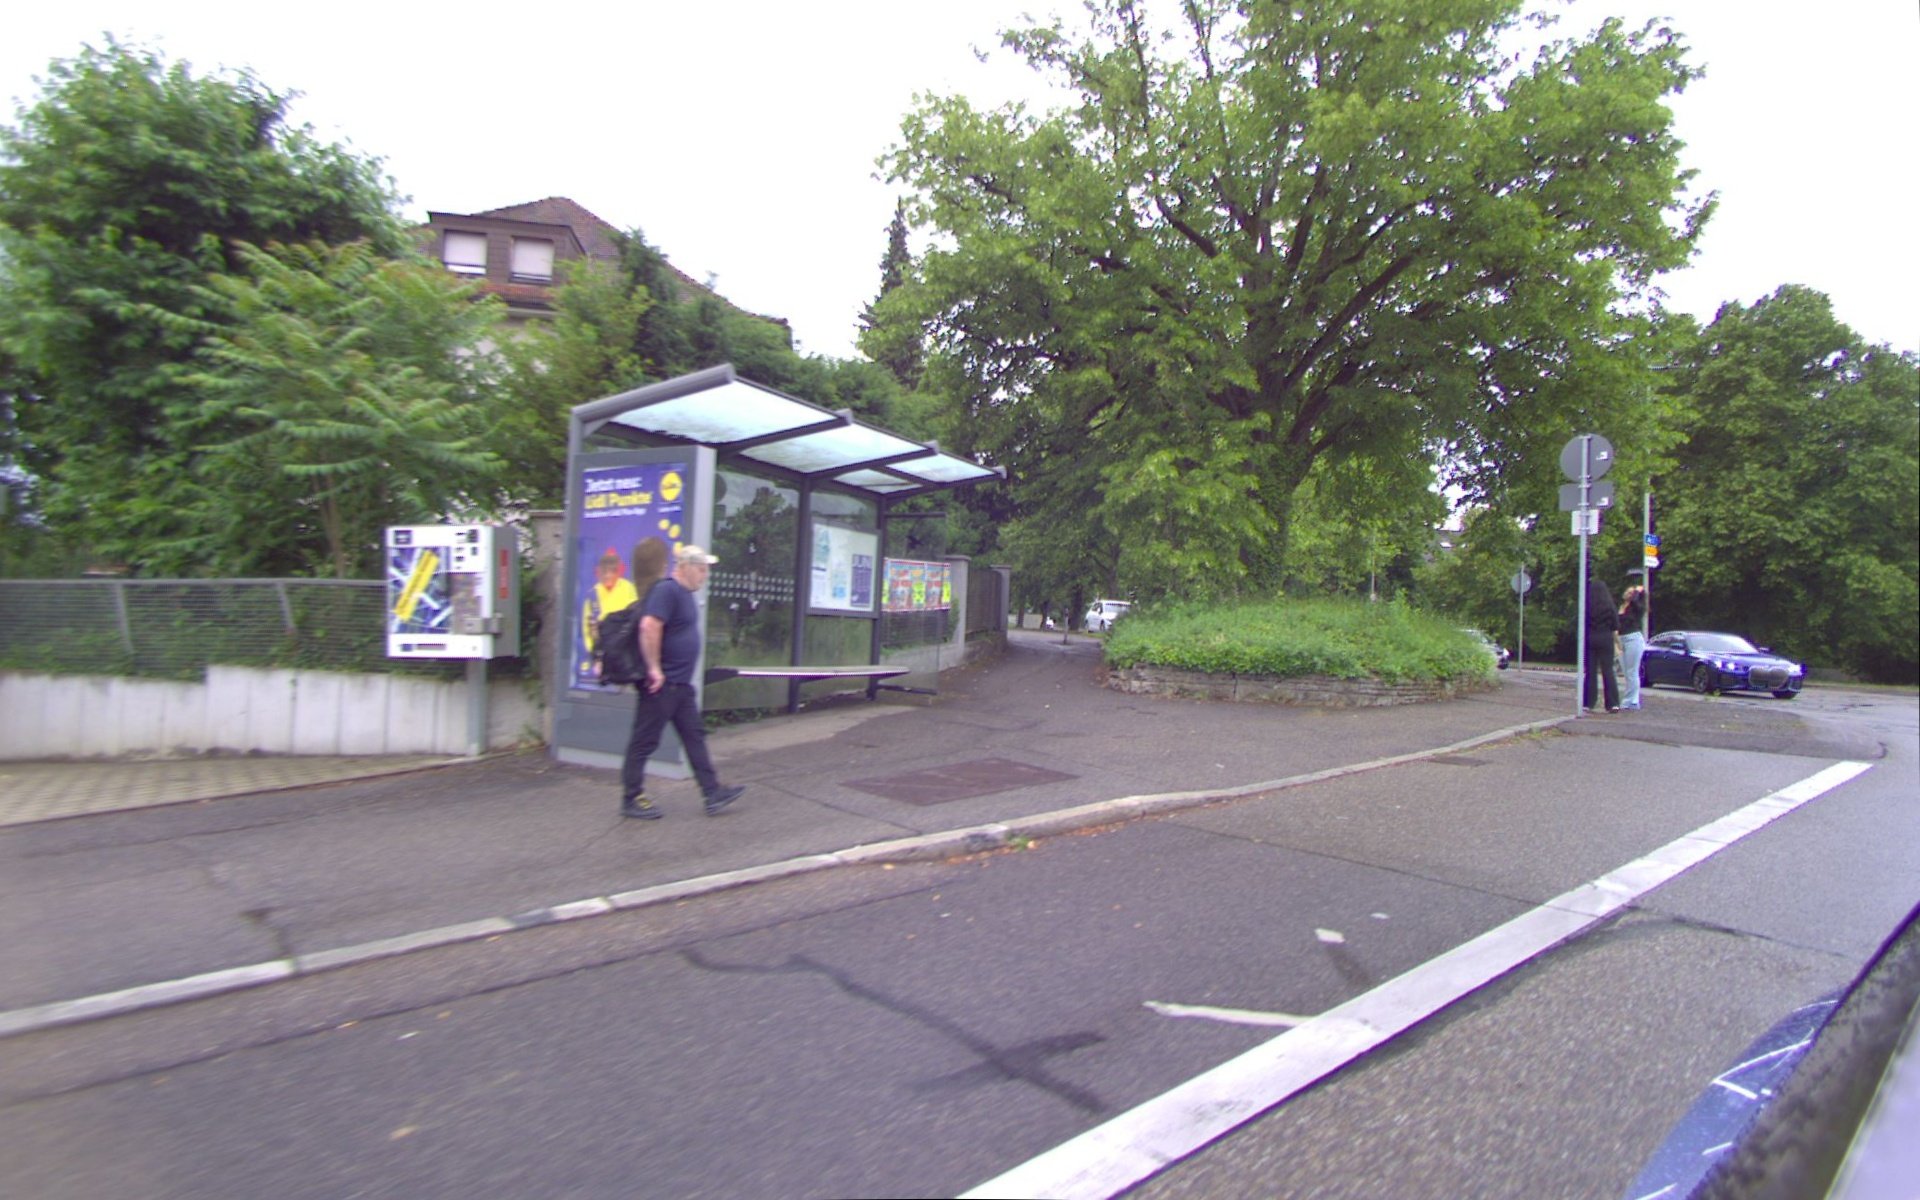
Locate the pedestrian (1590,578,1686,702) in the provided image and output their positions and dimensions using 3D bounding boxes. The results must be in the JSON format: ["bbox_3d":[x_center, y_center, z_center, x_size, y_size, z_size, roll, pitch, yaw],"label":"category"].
[{"bbox_3d":[9.452,0.538,14.140,0.803,1.675,0.726,1,0,-4],"label":"pedestrian"}]

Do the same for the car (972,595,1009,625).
[{"bbox_3d":[1.625,0.513,52.611,1.829,1.433,4.381,1,-1,3],"label":"car"}]

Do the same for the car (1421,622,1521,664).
[{"bbox_3d":[19.739,1.626,39.333,1.829,1.433,4.381,1,-1,3],"label":"car"}]

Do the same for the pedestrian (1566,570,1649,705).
[{"bbox_3d":[8.723,0.480,13.631,0.805,1.754,0.724,1,0,-42],"label":"pedestrian"}]

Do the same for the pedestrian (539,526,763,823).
[{"bbox_3d":[-1.858,0.422,6.255,1.077,1.675,0.928,1,0,0],"label":"pedestrian"}]

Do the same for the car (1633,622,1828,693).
[{"bbox_3d":[17.938,1.266,23.868,1.735,1.455,4.655,1,-1,11],"label":"car"}]

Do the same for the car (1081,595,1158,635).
[{"bbox_3d":[6.164,0.563,39.690,1.825,1.433,4.390,2,-1,-7],"label":"car"}]
